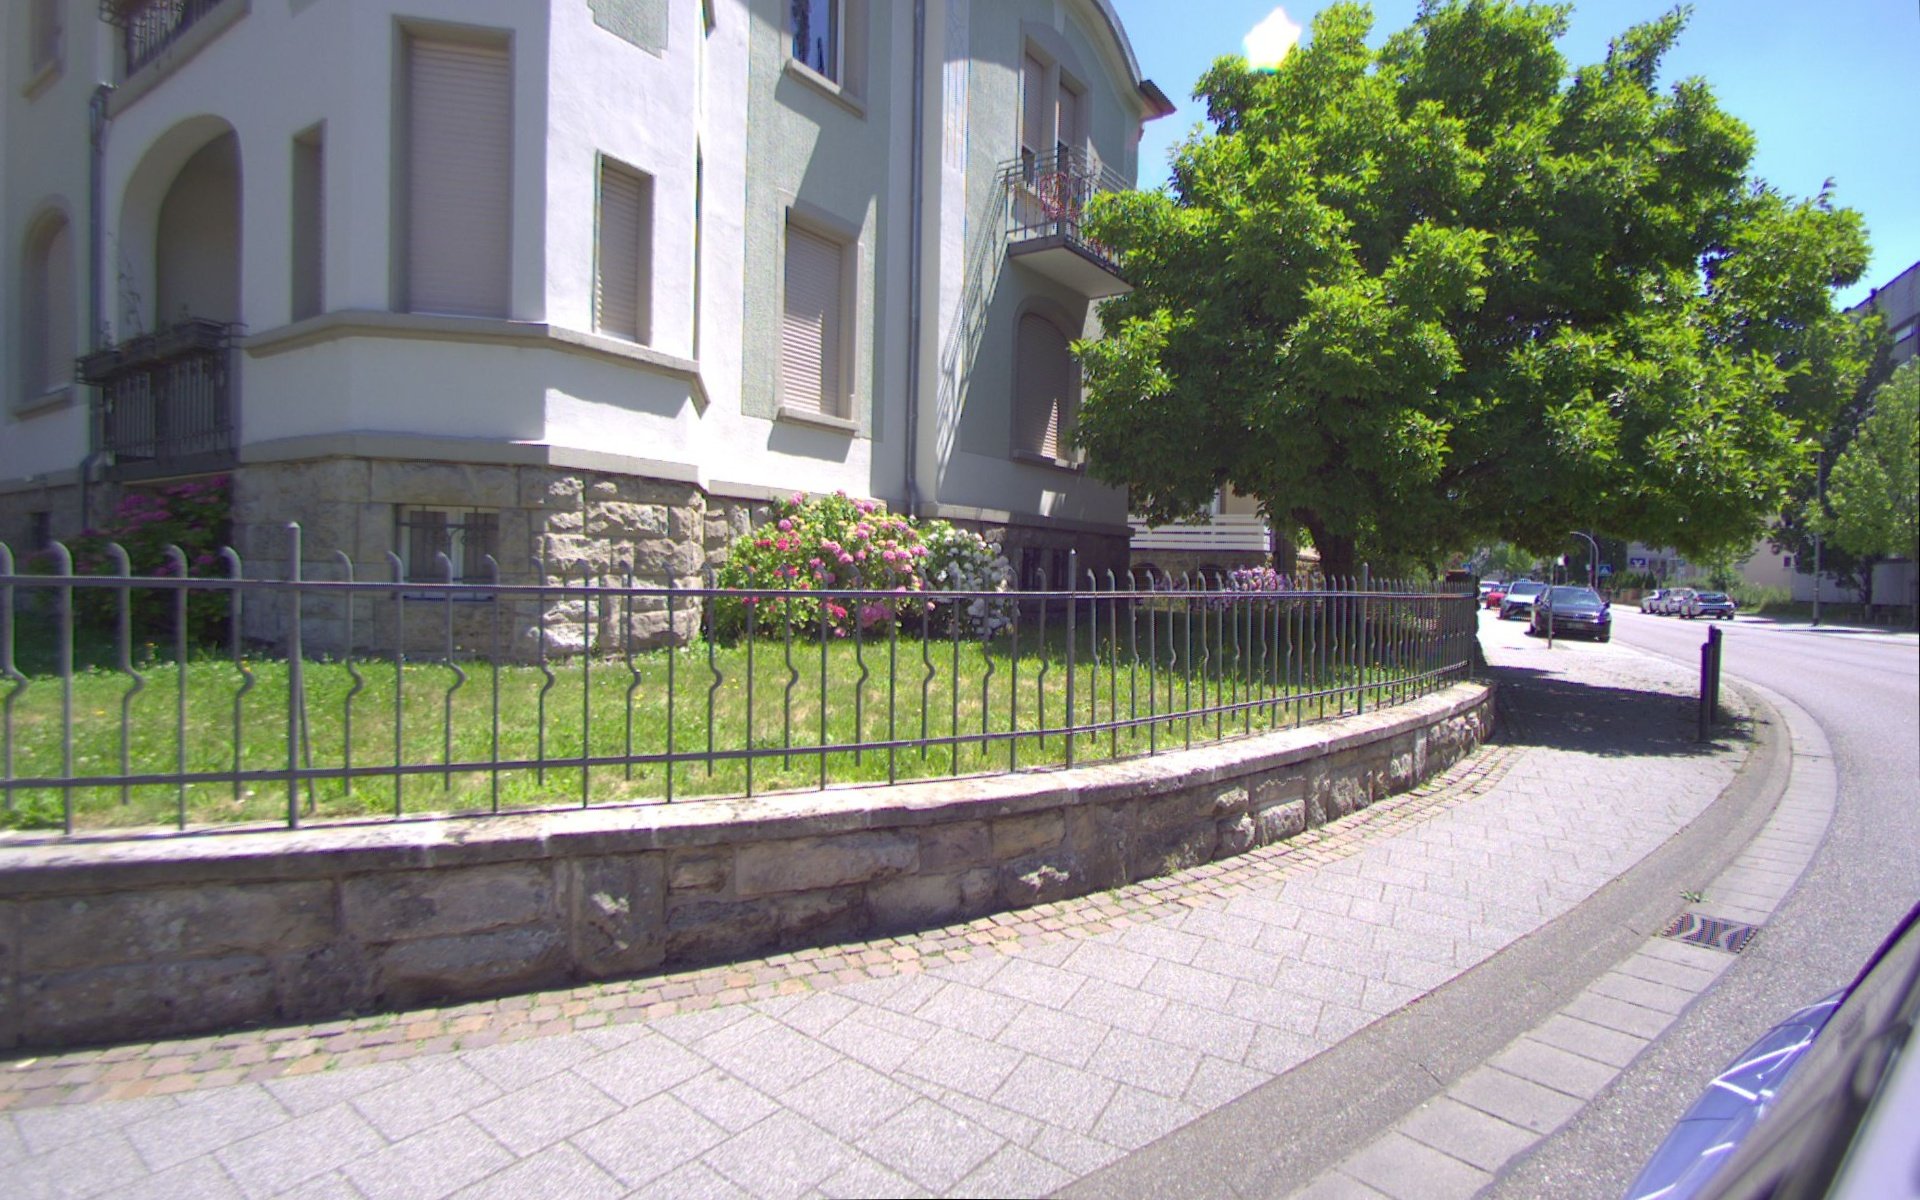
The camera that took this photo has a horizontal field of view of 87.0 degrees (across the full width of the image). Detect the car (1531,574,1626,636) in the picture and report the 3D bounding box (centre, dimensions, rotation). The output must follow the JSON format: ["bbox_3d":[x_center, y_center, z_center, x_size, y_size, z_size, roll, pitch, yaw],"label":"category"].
[{"bbox_3d":[17.408,0.080,28.653,1.756,1.560,3.967,2,2,25],"label":"car"}]

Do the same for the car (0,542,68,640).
[{"bbox_3d":[-16.913,-0.161,15.909,1.983,1.587,3.958,2,2,30],"label":"car"}]

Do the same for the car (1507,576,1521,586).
[{"bbox_3d":[92.748,-3.218,169.478,1.981,1.652,3.963,0,1,27],"label":"car"}]

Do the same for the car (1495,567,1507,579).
[{"bbox_3d":[106.830,-5.361,199.828,1.994,2.407,3.962,0,1,28],"label":"car"}]

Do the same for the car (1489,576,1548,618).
[{"bbox_3d":[23.079,-0.170,41.928,1.756,1.560,3.967,3,2,25],"label":"car"}]

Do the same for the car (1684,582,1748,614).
[{"bbox_3d":[37.634,-0.133,50.456,1.718,1.467,3.996,0,1,25],"label":"car"}]

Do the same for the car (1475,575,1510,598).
[{"bbox_3d":[39.960,-1.015,75.991,1.977,1.642,3.970,0,1,23],"label":"car"}]

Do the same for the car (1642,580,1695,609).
[{"bbox_3d":[41.478,-0.350,59.313,1.756,1.560,3.967,2,2,25],"label":"car"}]

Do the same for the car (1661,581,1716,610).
[{"bbox_3d":[39.786,-0.271,55.337,1.728,1.521,3.703,1,1,25],"label":"car"}]
